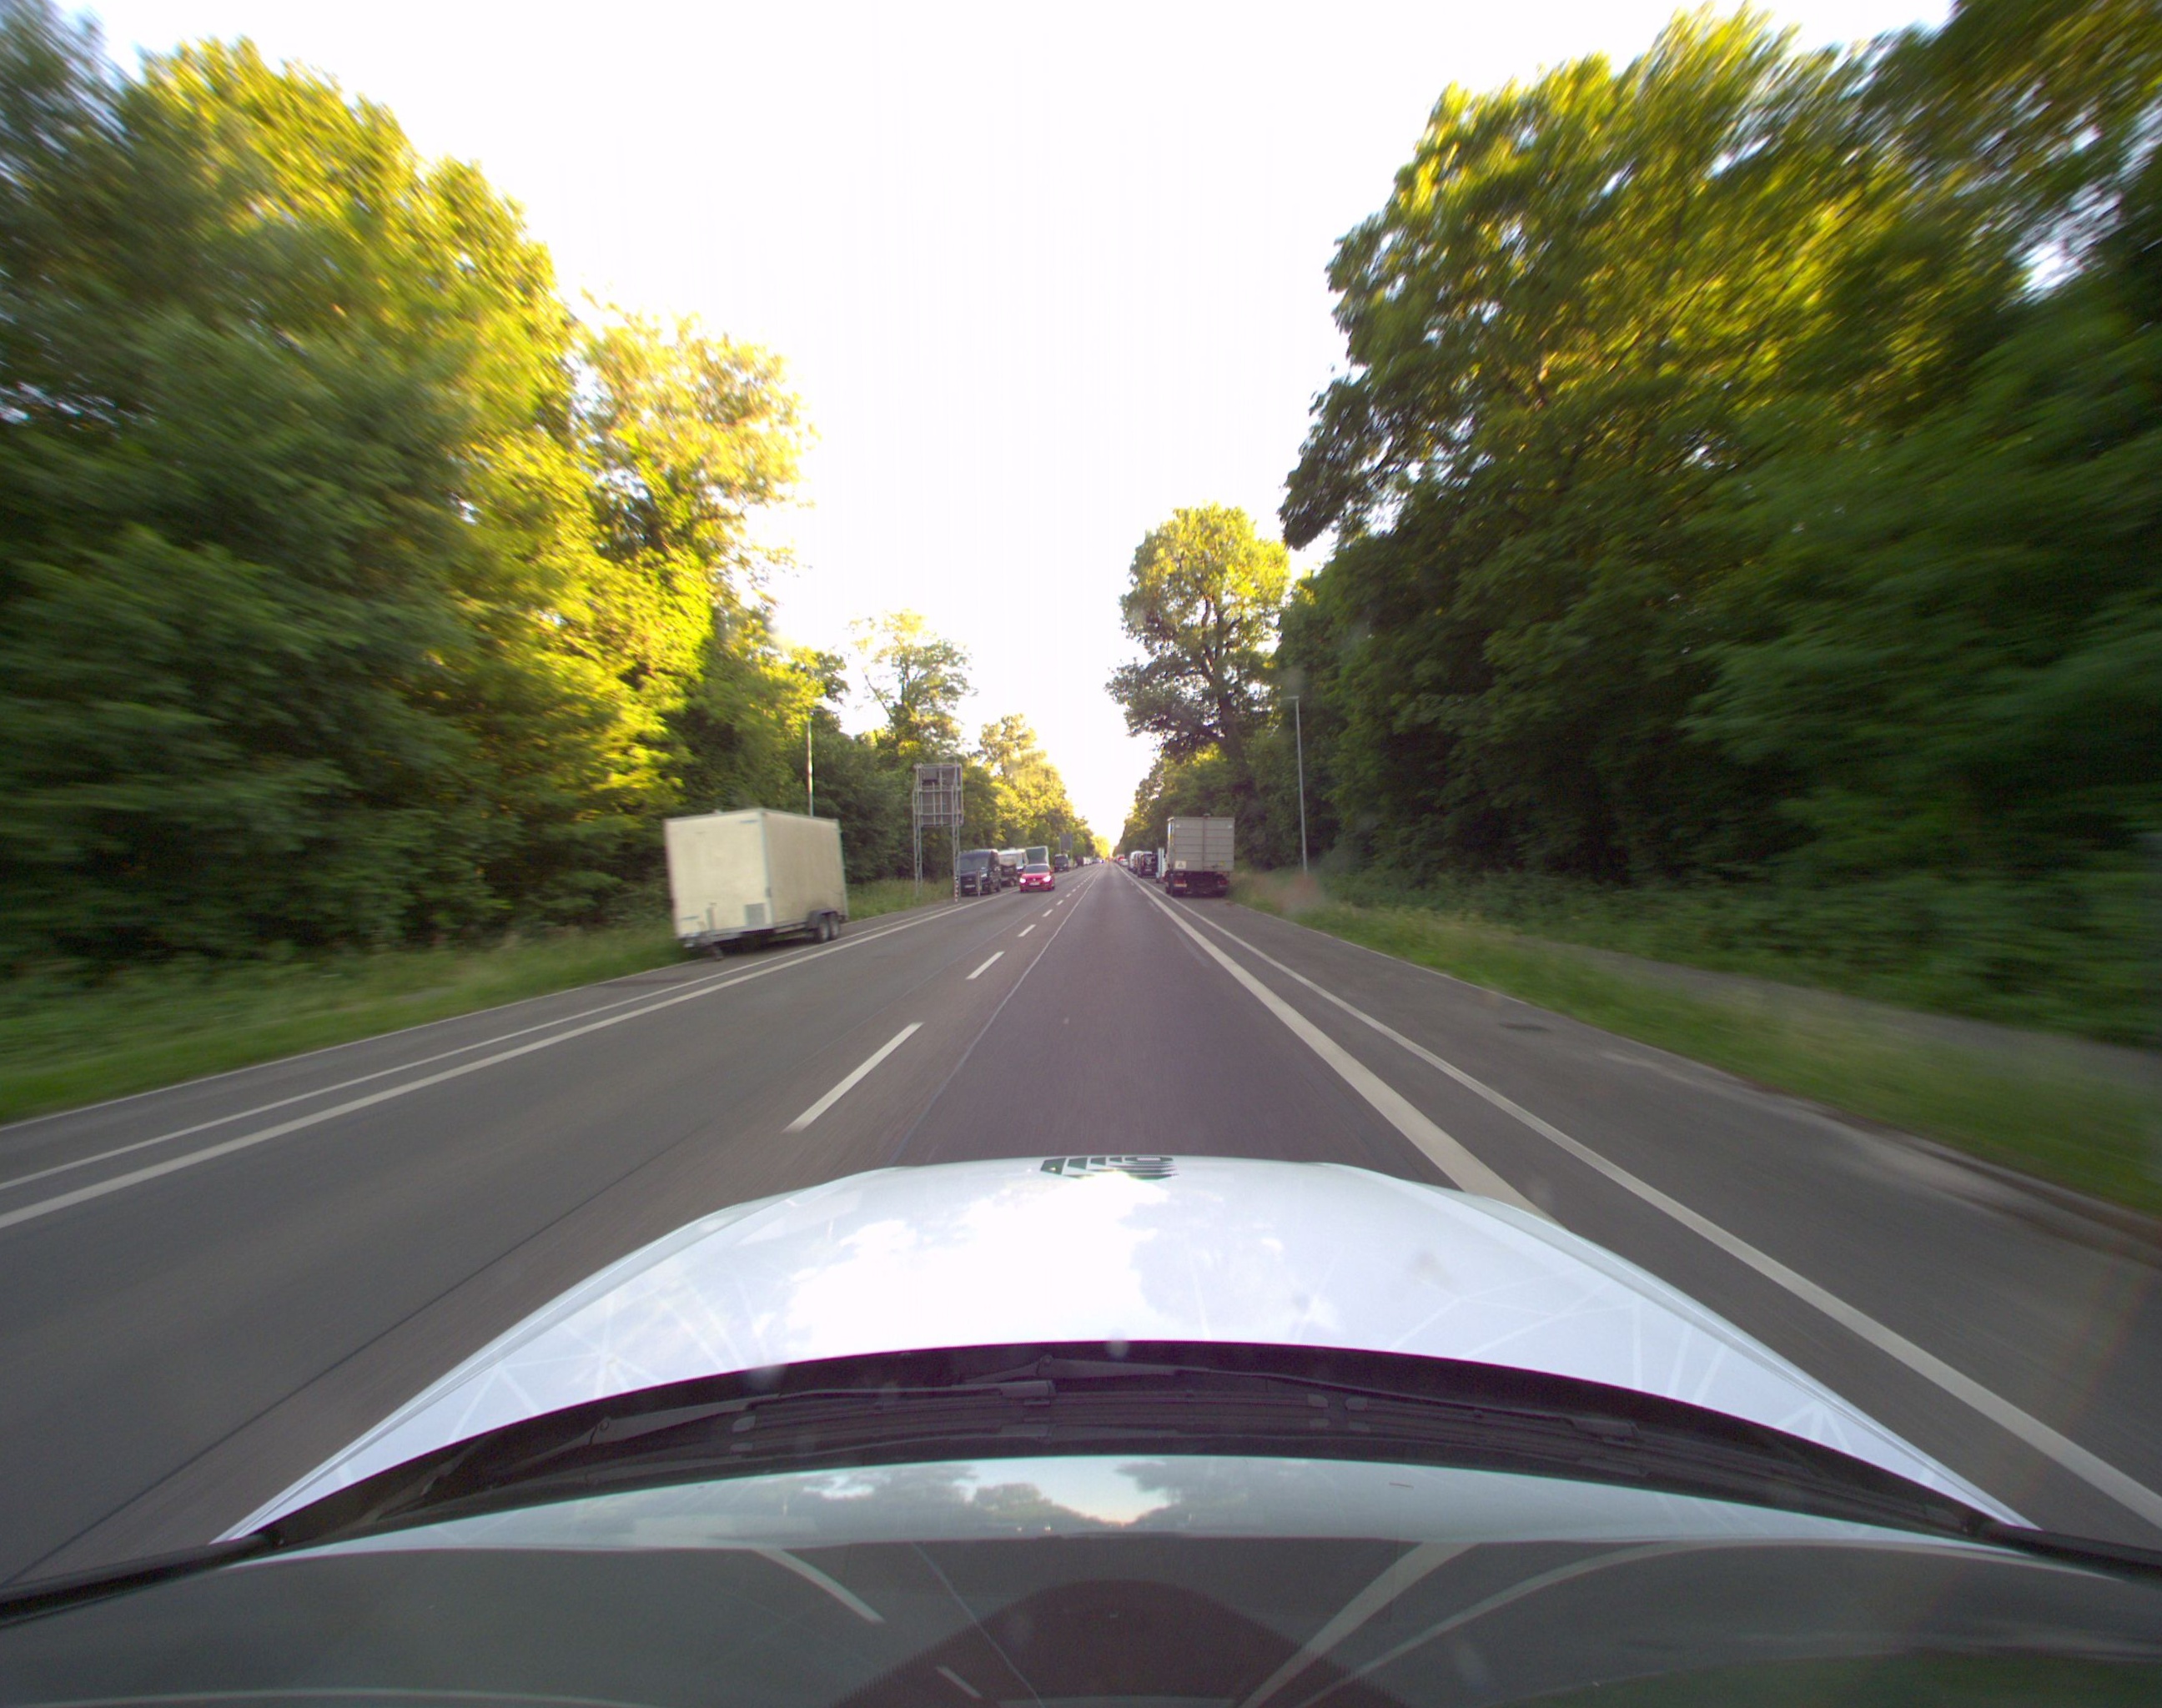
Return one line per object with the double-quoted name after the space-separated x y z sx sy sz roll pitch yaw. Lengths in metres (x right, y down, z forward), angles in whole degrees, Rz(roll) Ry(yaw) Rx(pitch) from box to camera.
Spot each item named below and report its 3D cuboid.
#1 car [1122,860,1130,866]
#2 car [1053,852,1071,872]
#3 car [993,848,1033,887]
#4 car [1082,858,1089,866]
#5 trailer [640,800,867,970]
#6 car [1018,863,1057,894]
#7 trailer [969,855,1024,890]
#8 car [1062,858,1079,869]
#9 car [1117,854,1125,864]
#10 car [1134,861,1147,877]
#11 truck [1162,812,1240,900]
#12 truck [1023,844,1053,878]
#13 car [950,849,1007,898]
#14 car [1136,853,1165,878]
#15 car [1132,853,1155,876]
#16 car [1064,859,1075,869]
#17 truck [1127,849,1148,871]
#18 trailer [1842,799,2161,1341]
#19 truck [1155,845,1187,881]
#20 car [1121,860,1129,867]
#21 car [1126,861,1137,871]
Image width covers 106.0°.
9.111 1.853 165.453 1.422 1.222 3.413 -5 -1 2 "car"
-2.749 1.117 121.051 2.178 2.788 5.336 -3 0 2 "car"
-5.011 0.947 60.842 2.241 2.647 5.723 -3 0 2 "car"
1.237 2.182 228.586 1.988 2.014 3.998 -3 -2 -1 "car"
-6.730 0.586 17.698 2.317 2.924 5.628 -5 0 1 "trailer"
-2.270 1.270 43.834 1.676 1.486 4.039 -3 0 2 "car"
-5.669 1.200 55.322 1.945 2.155 3.951 -3 0 23 "trailer"
-1.924 1.714 150.464 1.685 2.013 4.020 -1 0 20 "car"
12.202 1.446 247.387 2.305 3.093 5.641 -1 0 2 "car"
5.966 1.483 81.951 1.143 1.546 2.753 -1 -1 0 "car"
4.879 0.122 34.326 2.578 3.255 7.226 -1 -1 3 "truck"
-4.490 0.762 86.425 2.495 3.328 6.844 -3 0 2 "truck"
-5.485 0.997 44.415 1.986 2.364 5.768 -5 0 2 "car"
5.798 0.964 68.228 1.987 1.955 4.298 -1 -1 0 "car"
6.671 1.114 87.342 2.135 2.314 4.298 -1 -1 0 "car"
-2.024 1.807 142.325 1.765 1.672 3.999 -1 0 0 "car"
6.957 0.728 100.580 2.135 2.660 4.298 -1 -1 0 "truck"
3.858 0.630 1.999 1.444 1.662 3.796 -3 -1 20 "trailer"
5.873 0.599 53.720 1.877 2.283 4.304 -1 -1 4 "truck"
9.935 2.147 182.845 1.639 1.486 4.001 -1 0 2 "car"
6.605 1.607 106.583 1.143 1.252 2.753 -2 -1 0 "car"
